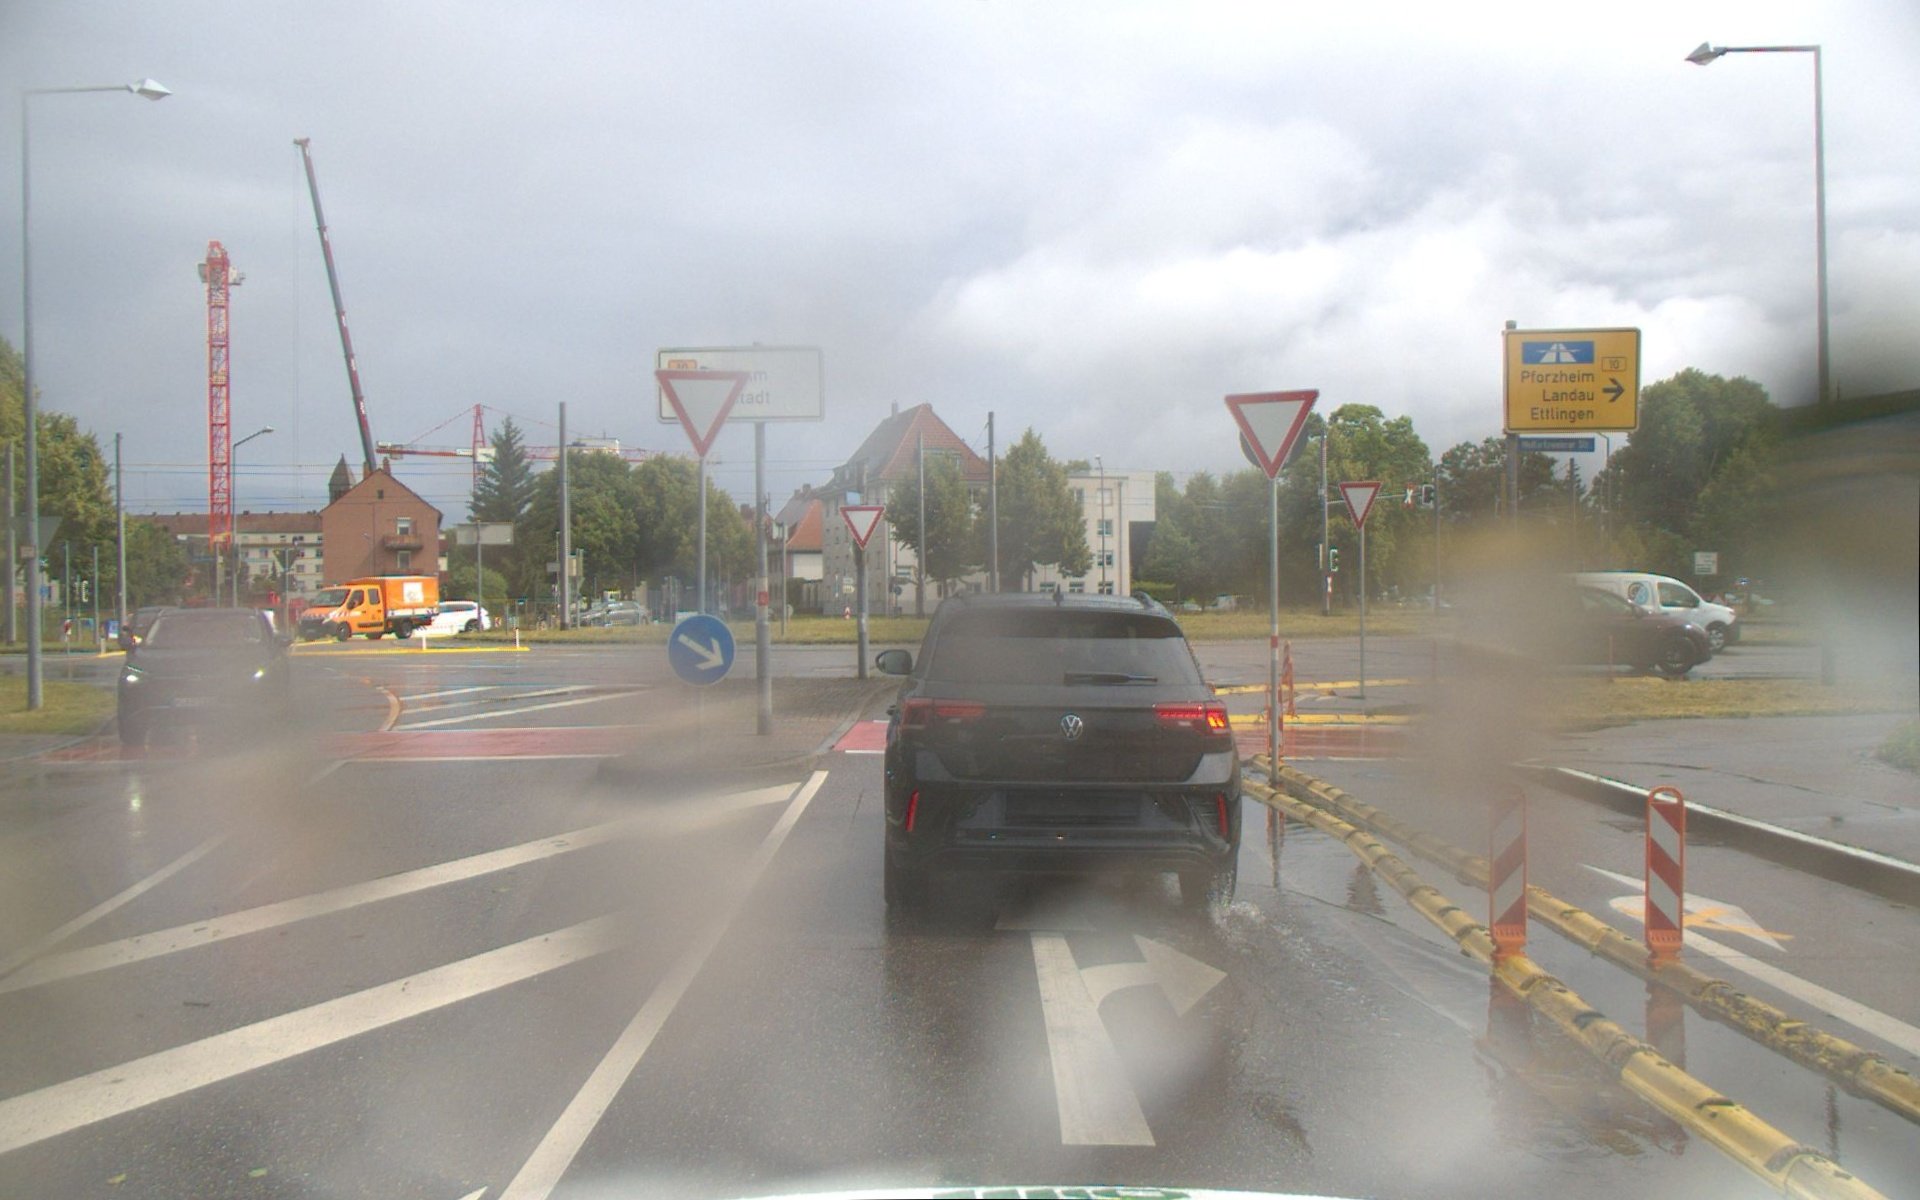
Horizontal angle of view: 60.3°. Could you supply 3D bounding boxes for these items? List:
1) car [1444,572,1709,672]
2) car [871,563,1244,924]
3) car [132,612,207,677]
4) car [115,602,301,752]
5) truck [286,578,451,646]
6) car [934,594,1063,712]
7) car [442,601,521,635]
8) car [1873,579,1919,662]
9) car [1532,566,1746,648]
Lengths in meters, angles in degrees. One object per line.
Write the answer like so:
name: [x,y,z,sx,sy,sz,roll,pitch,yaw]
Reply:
car: [11.547,0.399,31.217,4.252,1.755,2.000,-1,0,1]
car: [0.353,0.650,9.245,1.674,1.601,3.680,0,0,-3]
car: [-21.865,1.196,45.712,1.549,1.677,3.615,0,0,-31]
car: [-9.726,0.923,21.665,1.707,1.693,4.088,-2,0,-18]
truck: [-24.877,0.466,69.958,2.276,2.696,7.085,0,0,25]
car: [0.617,0.697,23.662,1.699,1.540,3.605,0,0,3]
car: [-23.397,0.853,80.920,3.461,1.612,1.550,0,0,-32]
car: [20.816,0.400,33.497,3.860,1.673,1.671,0,0,21]
car: [15.880,0.149,38.762,4.307,1.841,1.867,0,0,-8]
